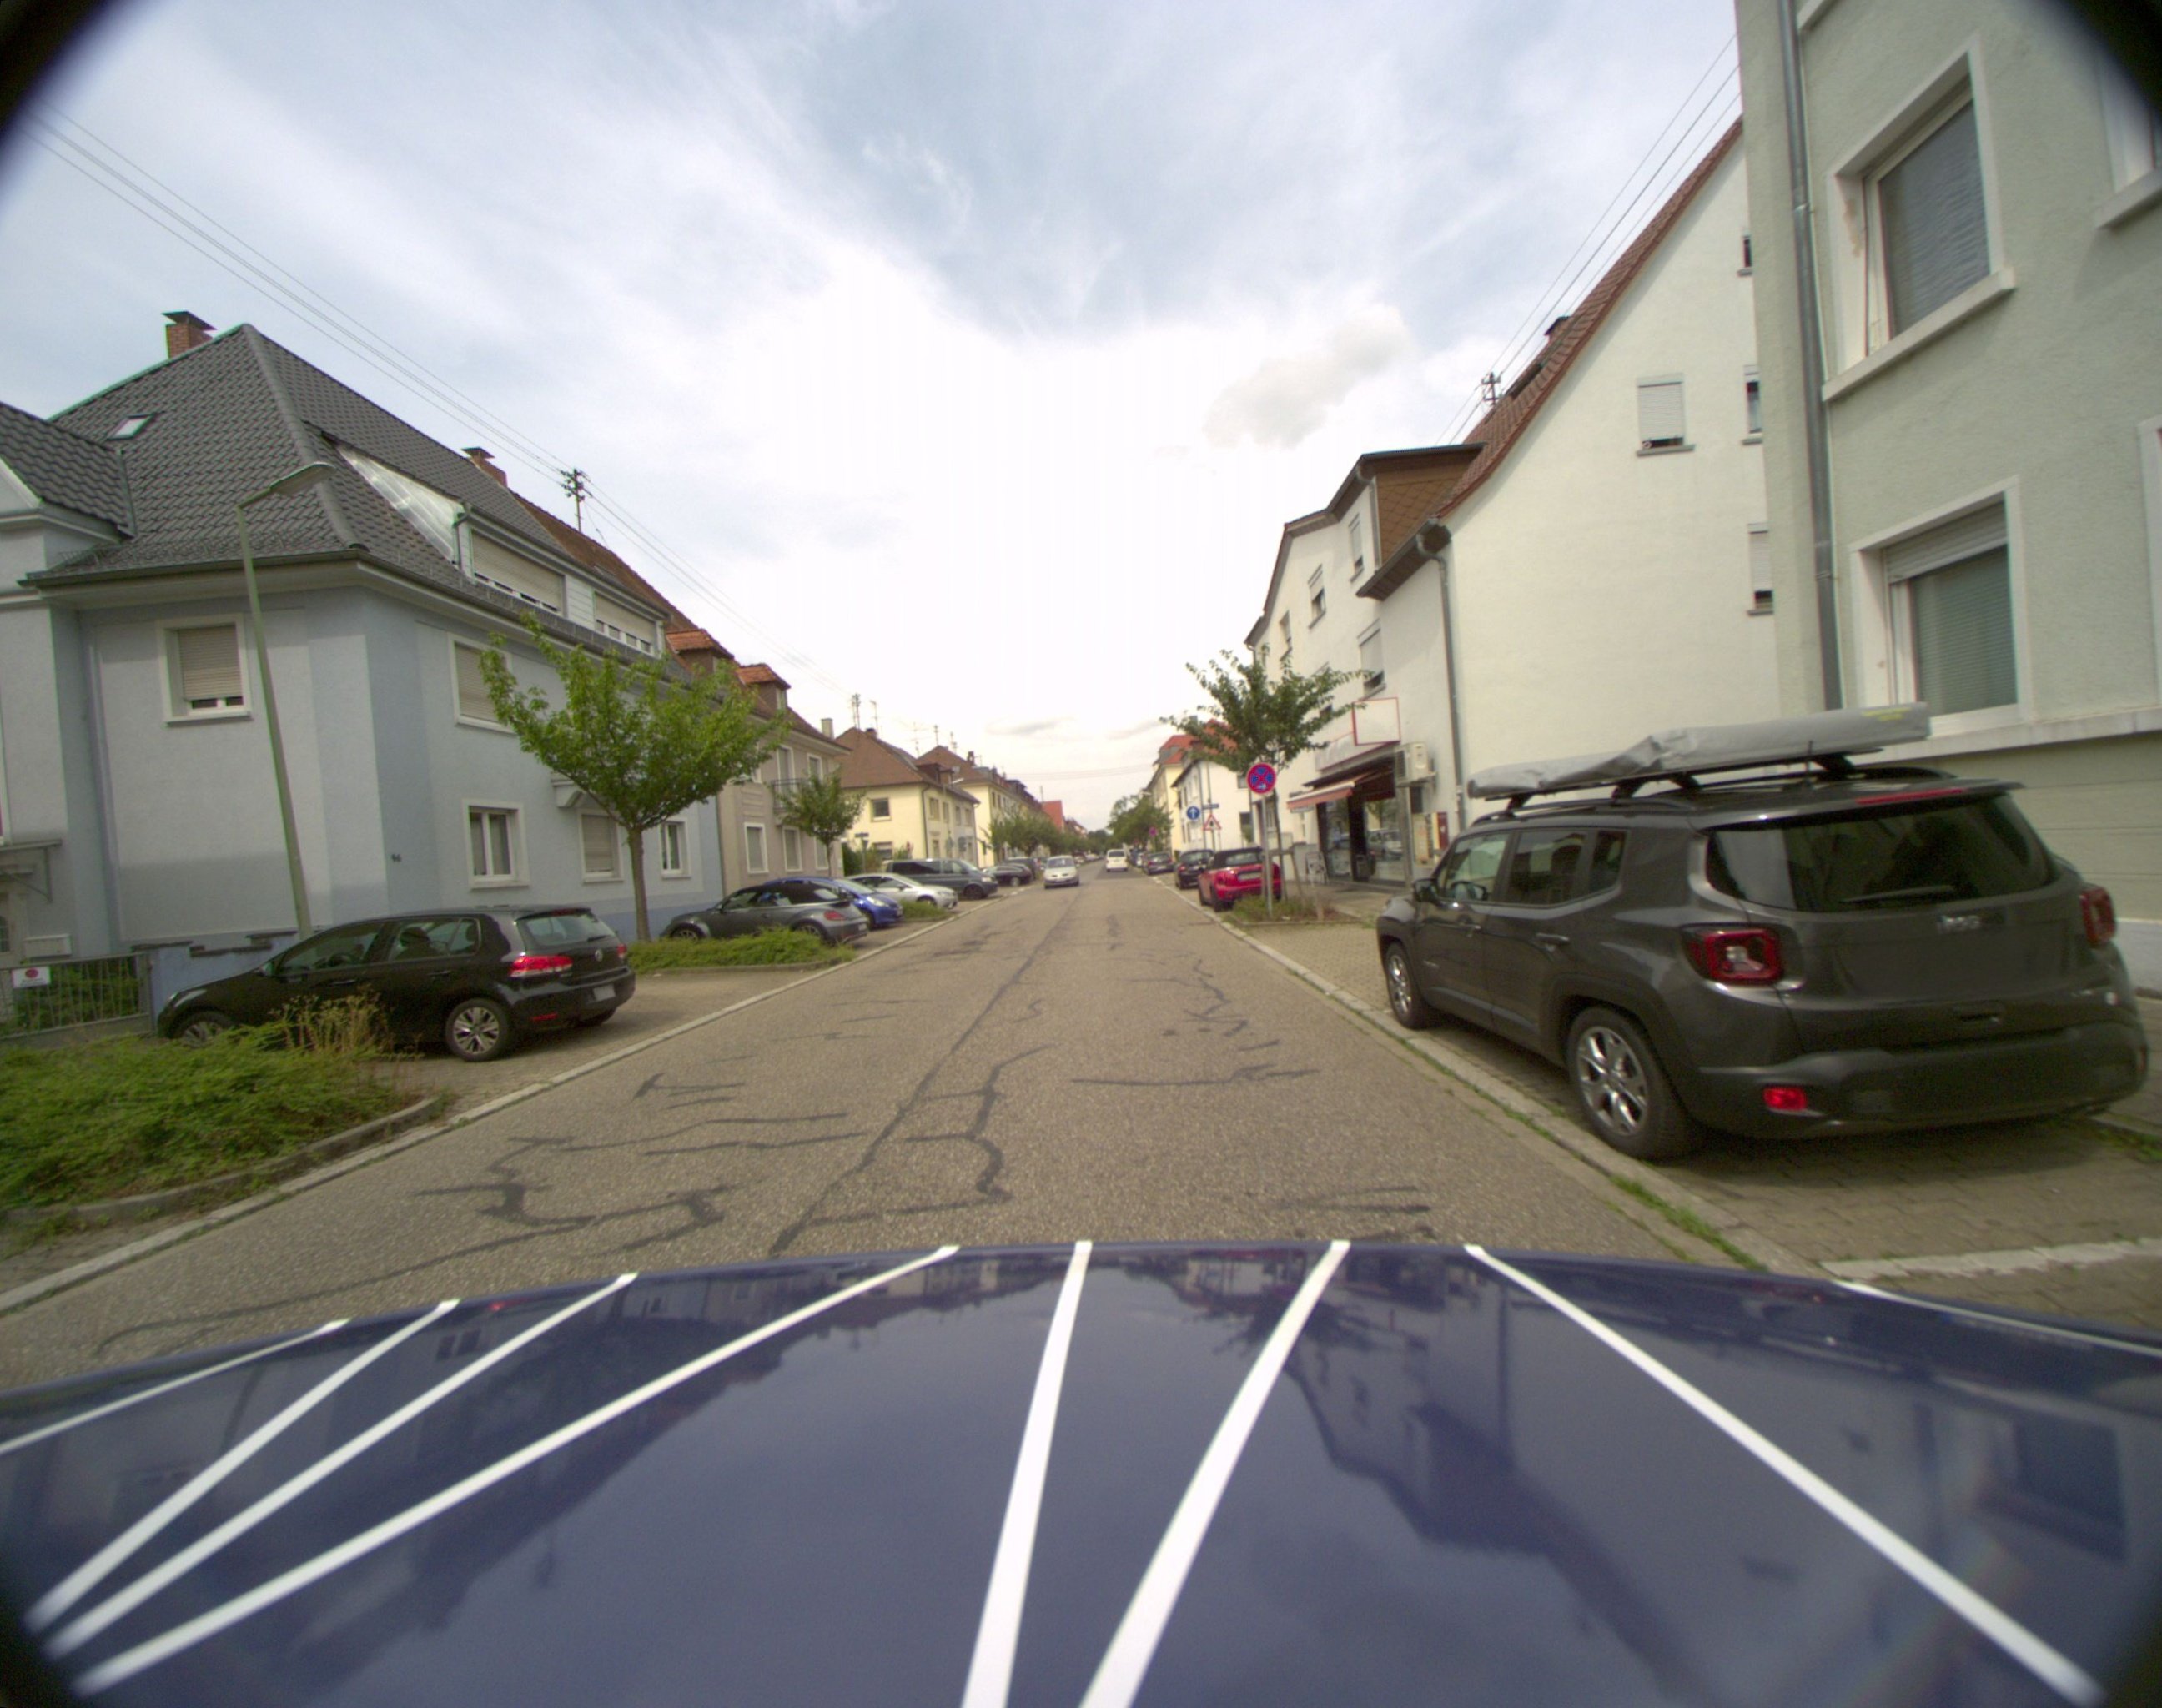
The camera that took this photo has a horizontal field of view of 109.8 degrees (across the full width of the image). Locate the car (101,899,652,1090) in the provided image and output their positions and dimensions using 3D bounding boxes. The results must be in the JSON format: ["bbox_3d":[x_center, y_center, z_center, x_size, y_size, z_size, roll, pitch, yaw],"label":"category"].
[{"bbox_3d":[-7.045,1.366,7.918,4.119,1.528,1.710,-2,1,1],"label":"car"}]

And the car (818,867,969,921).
[{"bbox_3d":[-6.061,1.283,24.940,4.402,1.528,1.871,-2,1,2],"label":"car"}]

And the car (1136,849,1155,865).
[{"bbox_3d":[6.479,0.288,76.265,1.711,1.495,3.443,-2,1,3],"label":"car"}]

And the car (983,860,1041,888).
[{"bbox_3d":[-4.330,1.224,48.043,3.441,1.438,1.647,-5,0,-1],"label":"car"}]

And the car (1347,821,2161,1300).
[{"bbox_3d":[3.222,0.676,4.684,1.697,1.573,4.249,-2,1,1],"label":"car"}]

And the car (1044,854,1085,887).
[{"bbox_3d":[-0.803,0.828,39.972,1.831,1.565,4.000,-2,1,2],"label":"car"}]

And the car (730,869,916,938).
[{"bbox_3d":[-7.007,1.333,20.867,4.400,1.603,1.872,-2,1,8],"label":"car"}]

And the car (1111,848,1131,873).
[{"bbox_3d":[3.628,0.577,69.153,1.757,2.098,3.621,-2,1,3],"label":"car"}]

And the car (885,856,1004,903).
[{"bbox_3d":[-5.890,1.080,33.114,4.718,1.817,1.871,-2,1,2],"label":"car"}]

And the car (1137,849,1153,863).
[{"bbox_3d":[7.028,0.201,84.089,1.625,1.495,3.443,-2,1,3],"label":"car"}]

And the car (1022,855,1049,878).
[{"bbox_3d":[-3.609,0.975,60.848,1.646,1.666,3.443,-5,0,2],"label":"car"}]

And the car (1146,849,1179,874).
[{"bbox_3d":[5.126,0.424,48.089,1.711,1.438,3.443,-2,1,1],"label":"car"}]

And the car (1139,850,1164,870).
[{"bbox_3d":[5.583,0.459,60.387,1.711,1.495,3.443,-2,1,3],"label":"car"}]

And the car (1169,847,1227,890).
[{"bbox_3d":[4.438,0.524,29.235,1.711,1.477,3.443,-2,1,1],"label":"car"}]

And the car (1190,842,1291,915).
[{"bbox_3d":[3.916,0.542,19.347,1.711,1.591,4.116,-2,1,1],"label":"car"}]

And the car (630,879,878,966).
[{"bbox_3d":[-6.728,1.401,15.942,4.403,1.491,1.710,-2,1,1],"label":"car"}]

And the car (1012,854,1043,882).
[{"bbox_3d":[-3.783,0.970,54.207,1.646,1.816,3.443,-5,0,2],"label":"car"}]
